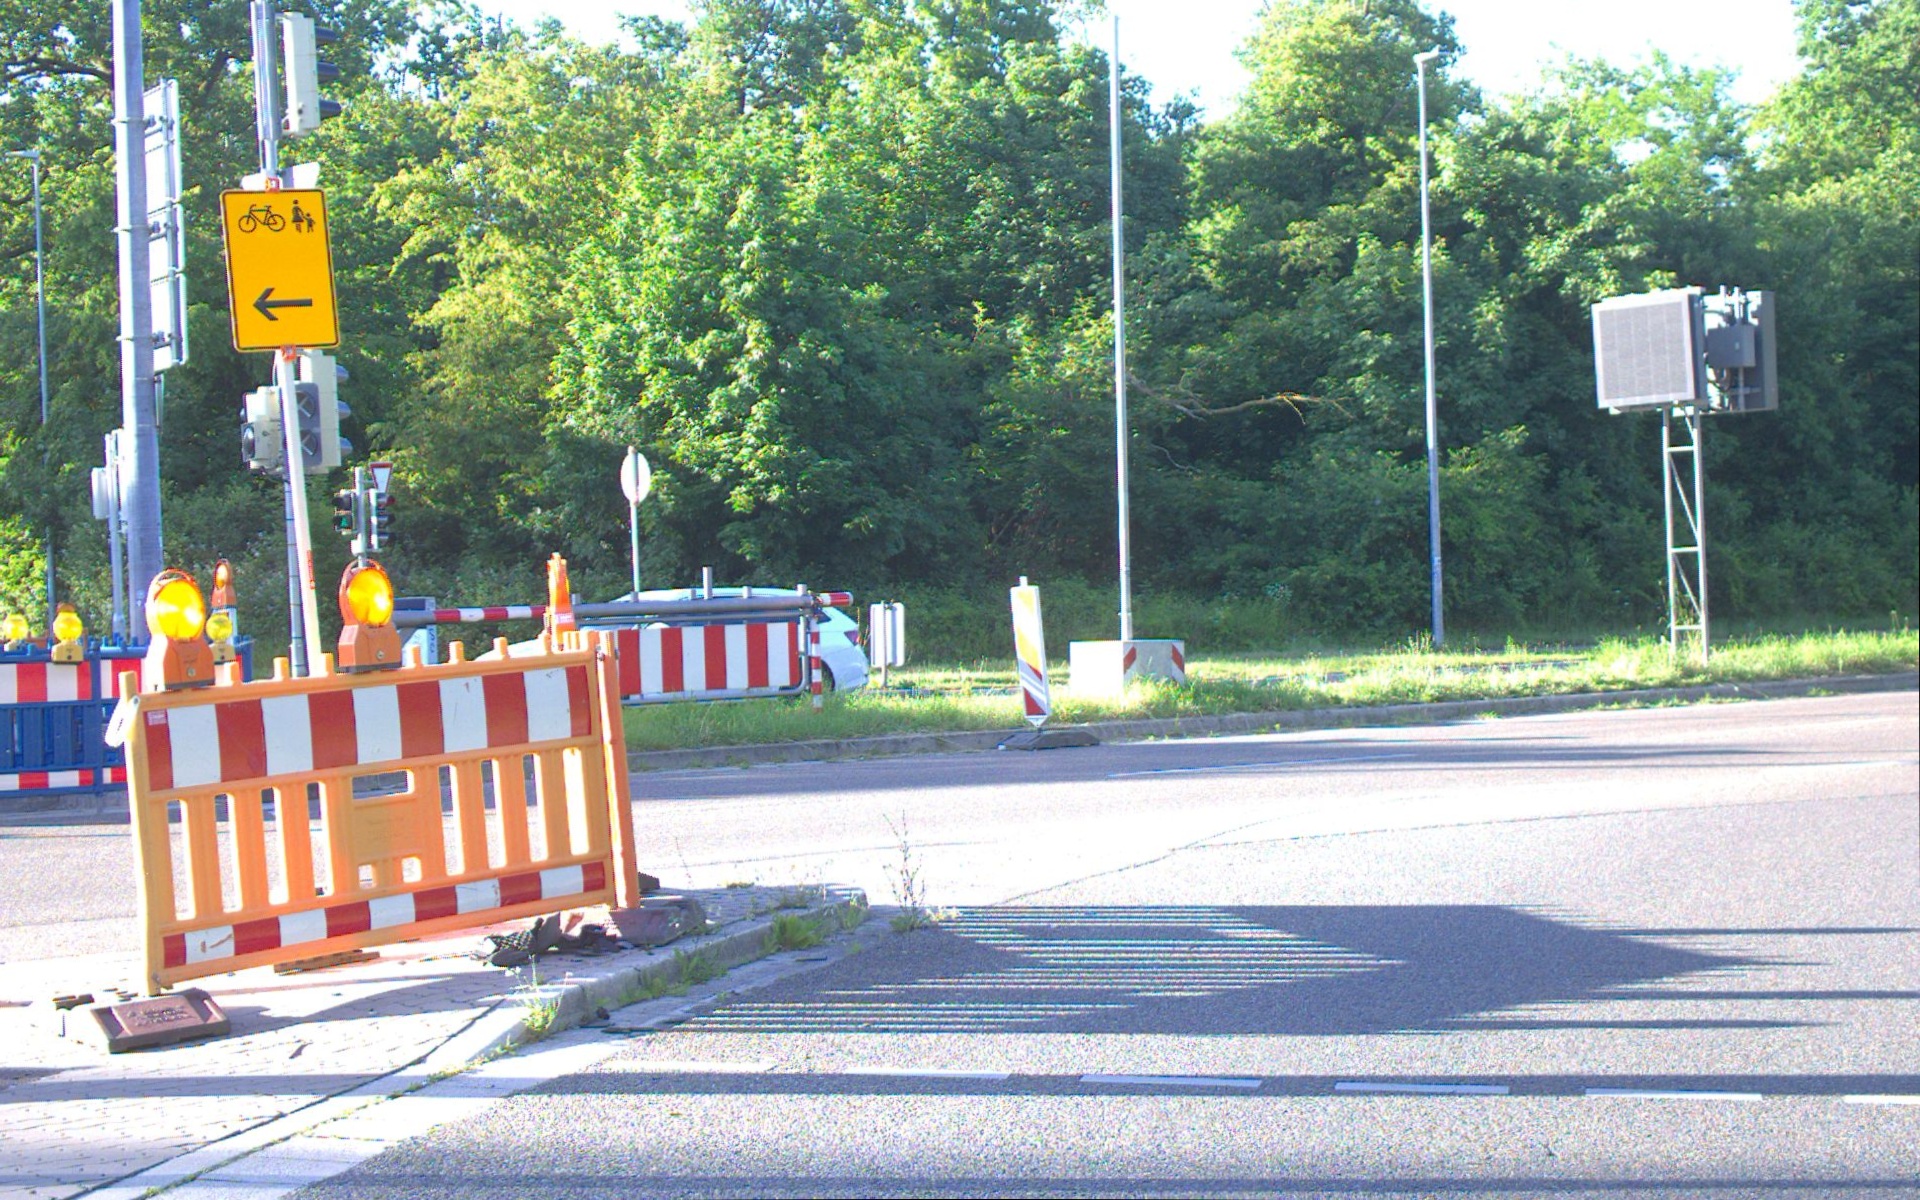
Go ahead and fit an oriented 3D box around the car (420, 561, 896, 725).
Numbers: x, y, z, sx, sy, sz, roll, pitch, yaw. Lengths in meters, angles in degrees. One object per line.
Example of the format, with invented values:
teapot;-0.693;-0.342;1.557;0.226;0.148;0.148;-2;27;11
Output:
car;-3.235;0.435;37.391;4.819;1.575;1.999;-2;0;-39
